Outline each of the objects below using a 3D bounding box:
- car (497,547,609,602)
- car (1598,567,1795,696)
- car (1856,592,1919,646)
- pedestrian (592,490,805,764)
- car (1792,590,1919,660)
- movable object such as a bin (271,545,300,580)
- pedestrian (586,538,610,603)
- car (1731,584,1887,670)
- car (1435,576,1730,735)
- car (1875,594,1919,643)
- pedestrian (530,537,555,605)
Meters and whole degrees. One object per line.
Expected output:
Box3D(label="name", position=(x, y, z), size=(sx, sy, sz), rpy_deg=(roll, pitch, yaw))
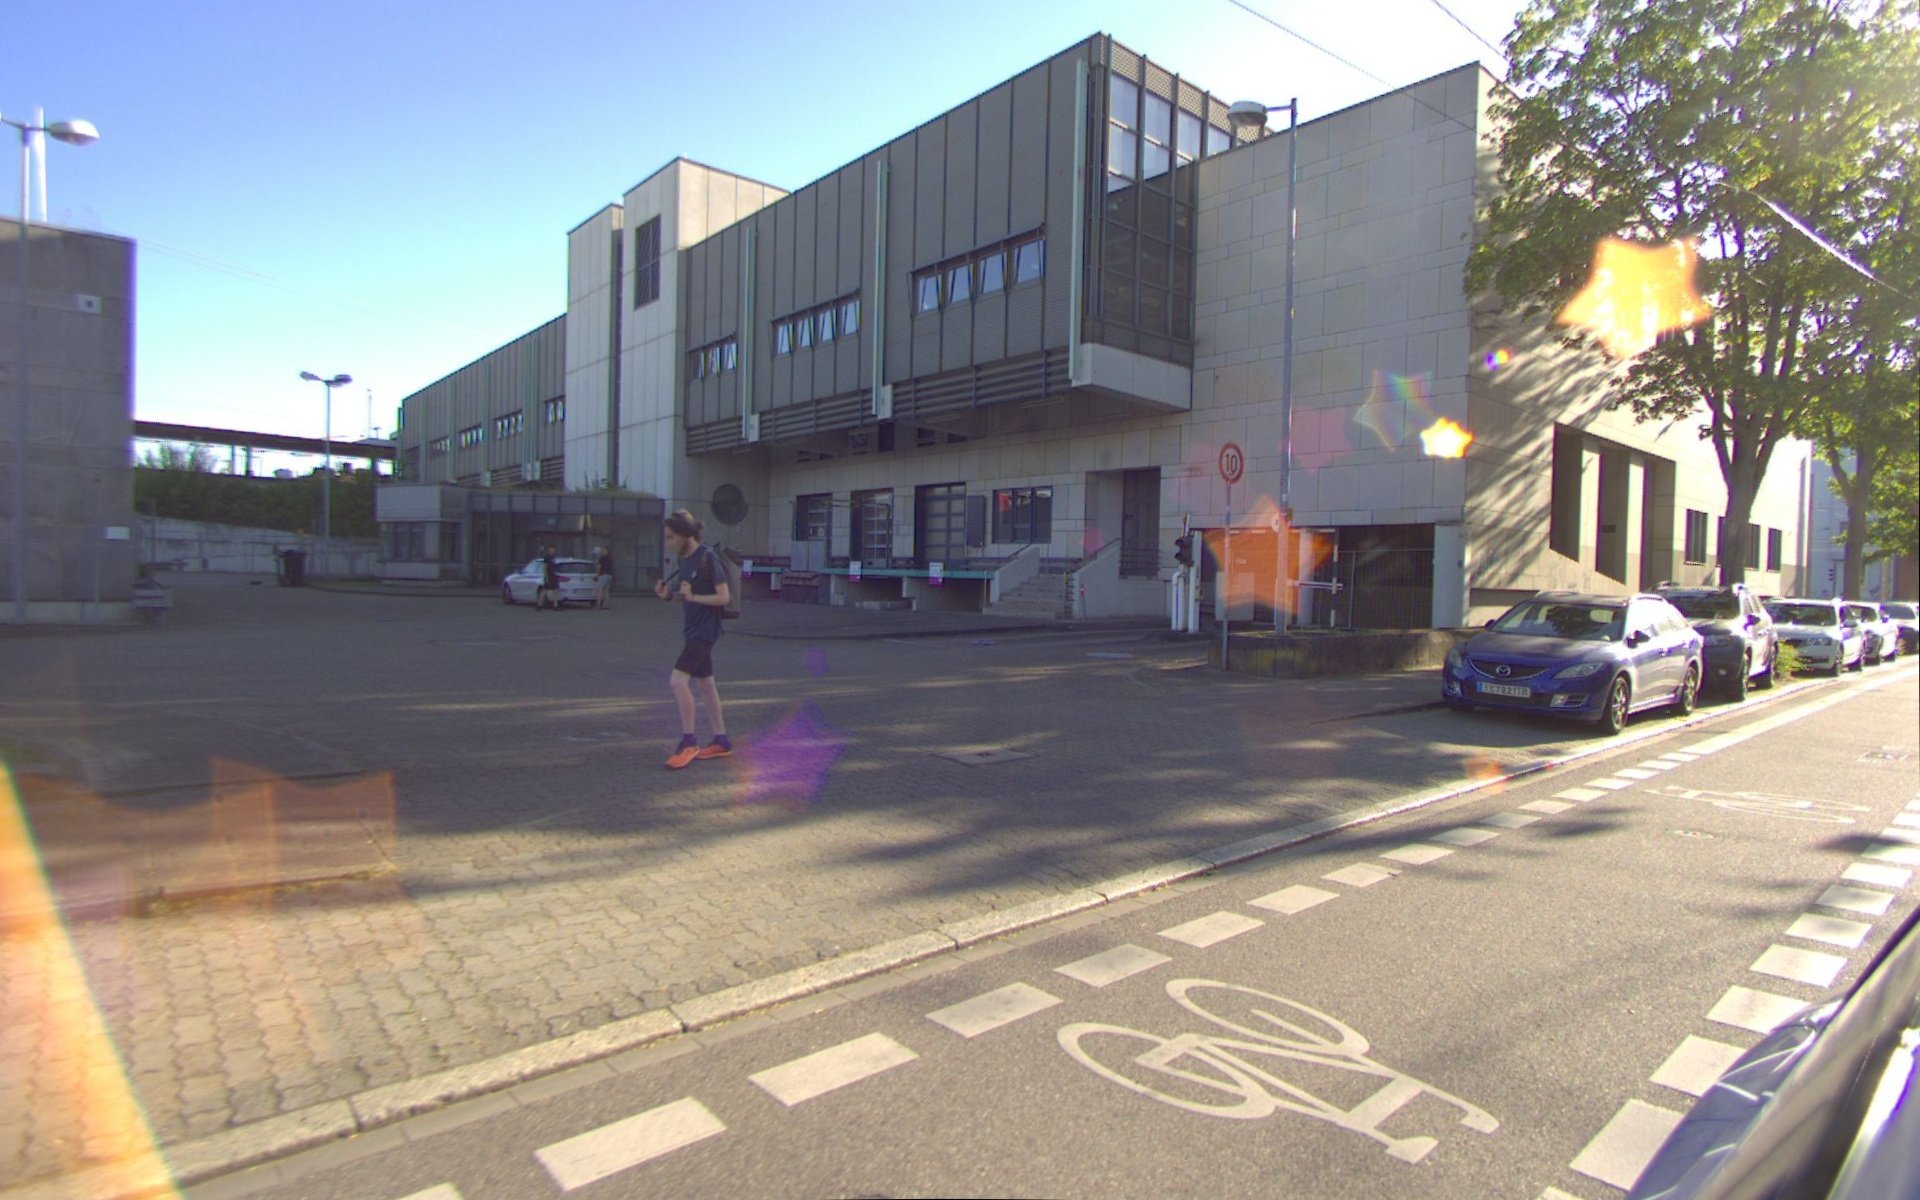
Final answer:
Box3D(label="car", position=(-12.039, -0.748, 29.802), size=(1.868, 1.492, 4.081), rpy_deg=(-1, 1, -41))
Box3D(label="car", position=(11.544, 0.380, 15.753), size=(4.207, 1.733, 1.743), rpy_deg=(-1, 2, -44))
Box3D(label="car", position=(28.223, 0.523, 30.231), size=(4.582, 1.424, 1.680), rpy_deg=(-1, 4, -43))
Box3D(label="pedestrian", position=(-1.896, 0.152, 7.371), size=(1.281, 1.810, 0.672), rpy_deg=(-1, 6, -41))
Box3D(label="car", position=(21.704, 0.533, 24.484), size=(4.253, 1.425, 1.712), rpy_deg=(-1, 4, -41))
Box3D(label="movable object such as a bin", position=(-24.891, -1.376, 37.349), size=(0.766, 1.295, 0.903), rpy_deg=(0, 1, -41))
Box3D(label="pedestrian", position=(-10.148, -0.820, 28.353), size=(0.502, 1.803, 0.481), rpy_deg=(0, 1, -39))
Box3D(label="car", position=(17.370, 0.491, 20.637), size=(4.542, 1.508, 1.716), rpy_deg=(0, 2, -41))
Box3D(label="car", position=(7.700, 0.521, 12.327), size=(4.577, 1.499, 1.706), rpy_deg=(-1, 5, -41))
Box3D(label="car", position=(32.082, 0.587, 33.904), size=(3.930, 1.498, 1.653), rpy_deg=(-1, 1, -41))
Box3D(label="pedestrian", position=(-11.303, -0.776, 27.391), size=(0.502, 1.803, 0.481), rpy_deg=(0, 1, -39))
